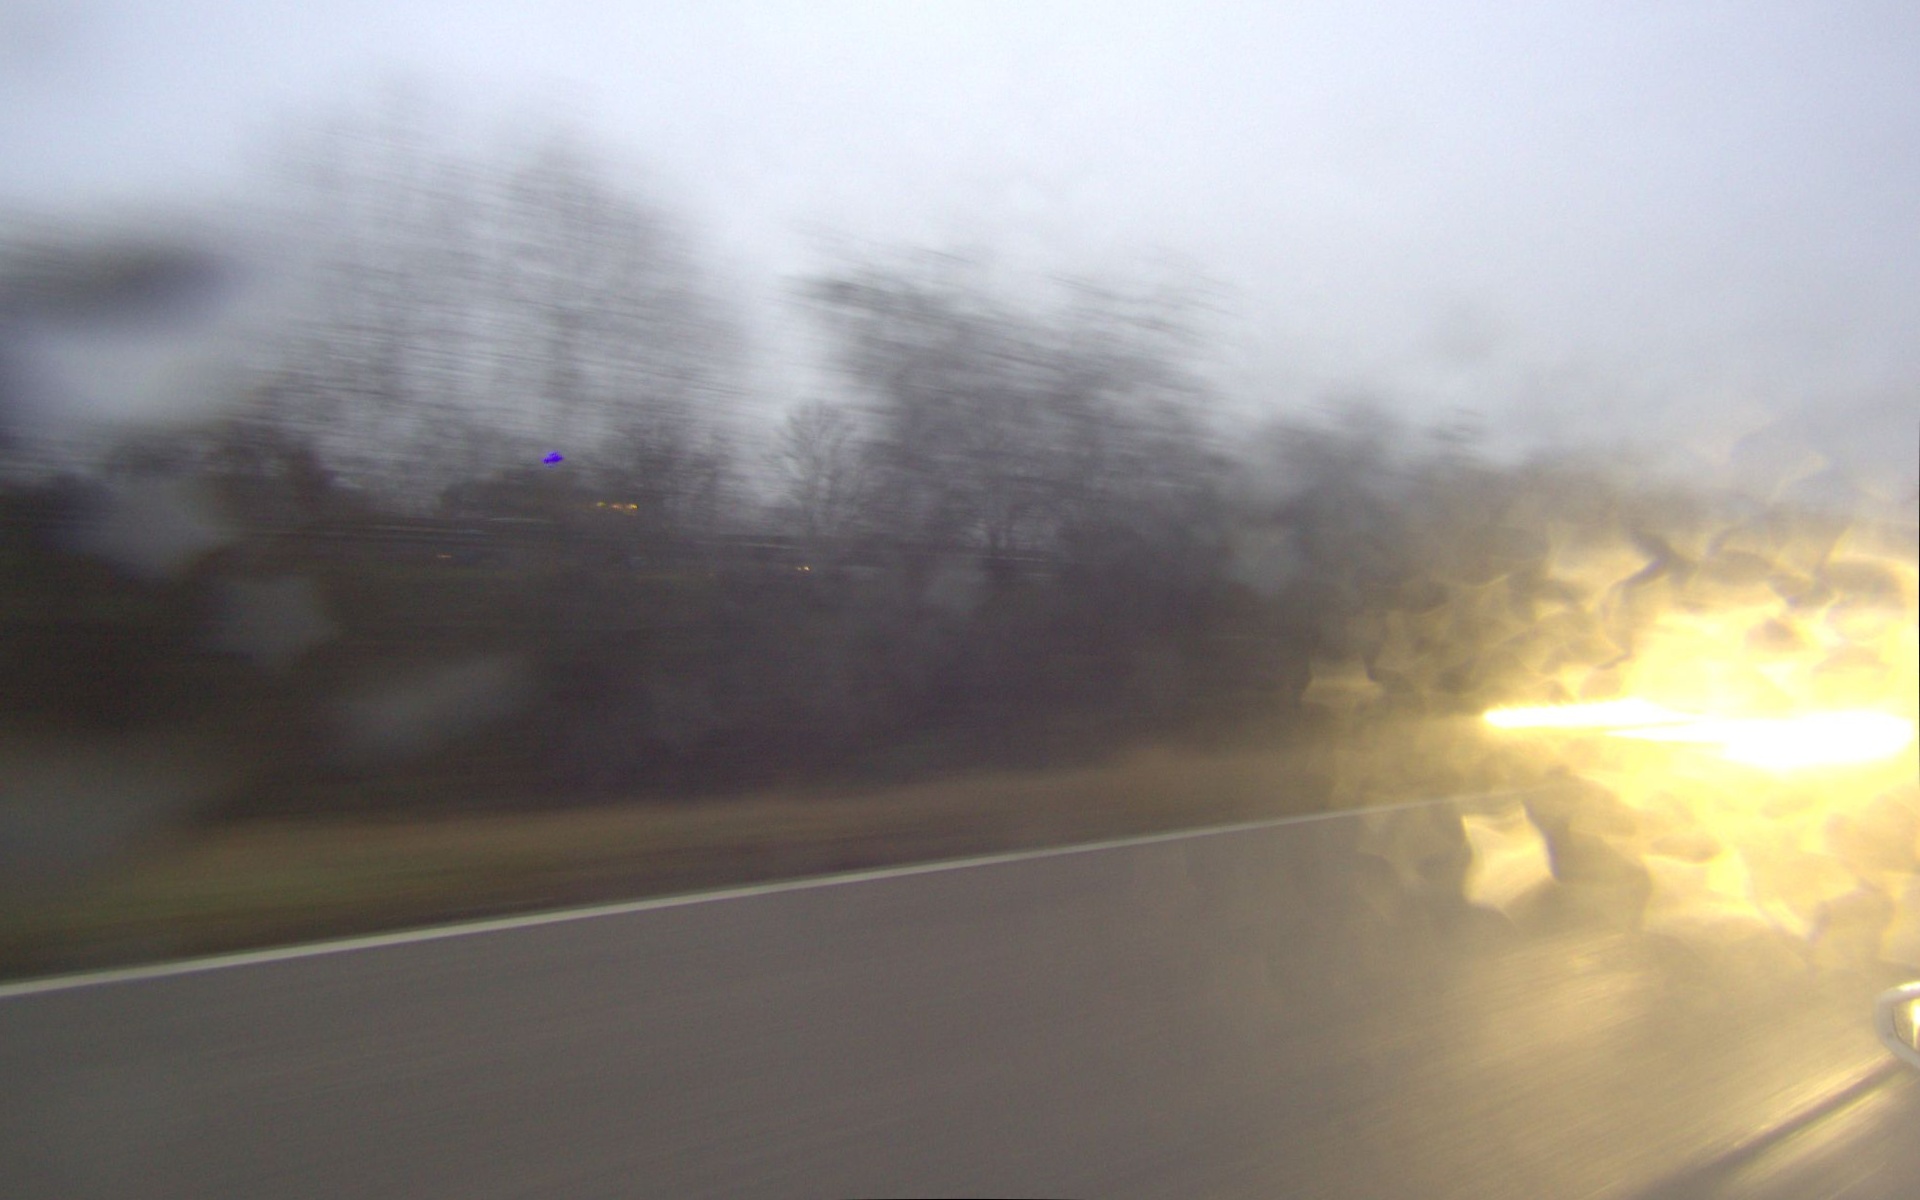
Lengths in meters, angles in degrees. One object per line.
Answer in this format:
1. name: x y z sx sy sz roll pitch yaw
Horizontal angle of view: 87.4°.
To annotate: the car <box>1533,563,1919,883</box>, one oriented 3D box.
1. car: 6.327 0.717 7.388 4.206 1.774 1.778 1 -1 -29
